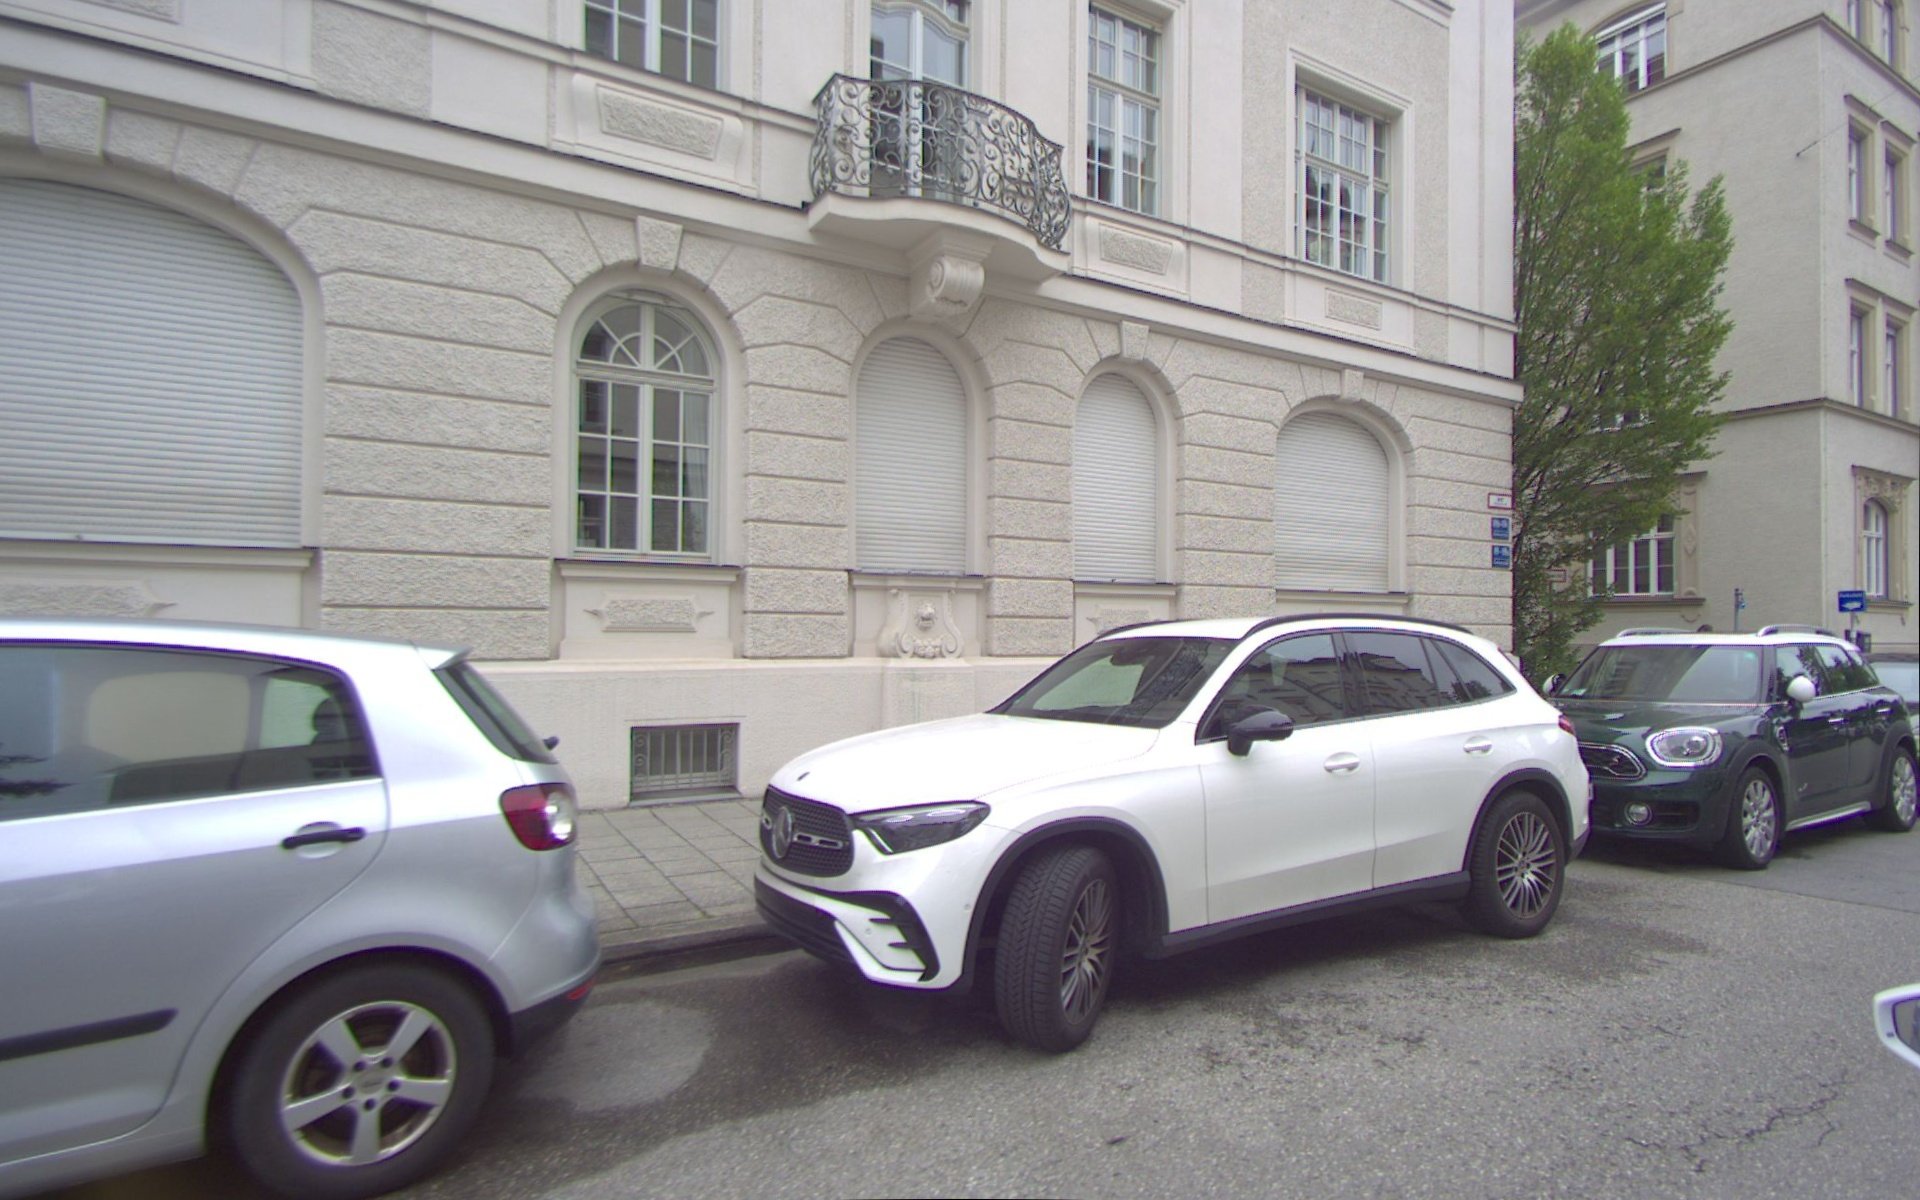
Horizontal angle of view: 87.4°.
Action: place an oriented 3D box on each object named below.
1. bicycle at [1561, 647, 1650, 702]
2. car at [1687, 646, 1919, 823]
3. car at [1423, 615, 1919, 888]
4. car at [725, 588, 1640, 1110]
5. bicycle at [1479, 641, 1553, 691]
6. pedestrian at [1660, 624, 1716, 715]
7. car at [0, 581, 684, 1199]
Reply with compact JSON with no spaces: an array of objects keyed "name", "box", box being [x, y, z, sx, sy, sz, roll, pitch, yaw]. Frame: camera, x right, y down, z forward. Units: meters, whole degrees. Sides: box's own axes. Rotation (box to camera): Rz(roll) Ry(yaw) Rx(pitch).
[{"name":"bicycle","box":[13.603,1.552,21.159,1.984,0.973,0.691,-2,3,-29]},{"name":"car","box":[9.580,1.230,10.445,4.318,1.431,1.778,1,-1,-32]},{"name":"car","box":[5.770,0.962,7.953,4.196,1.640,1.827,1,-1,-32]},{"name":"car","box":[1.291,0.830,5.147,4.518,1.640,1.906,1,-1,-31]},{"name":"bicycle","box":[12.744,1.490,23.009,1.883,1.017,0.582,-1,1,-29]},{"name":"pedestrian","box":[13.483,1.273,18.612,0.624,1.647,0.669,1,-1,-33]},{"name":"car","box":[-3.092,0.767,2.684,4.214,1.561,1.772,2,-4,-34]}]
